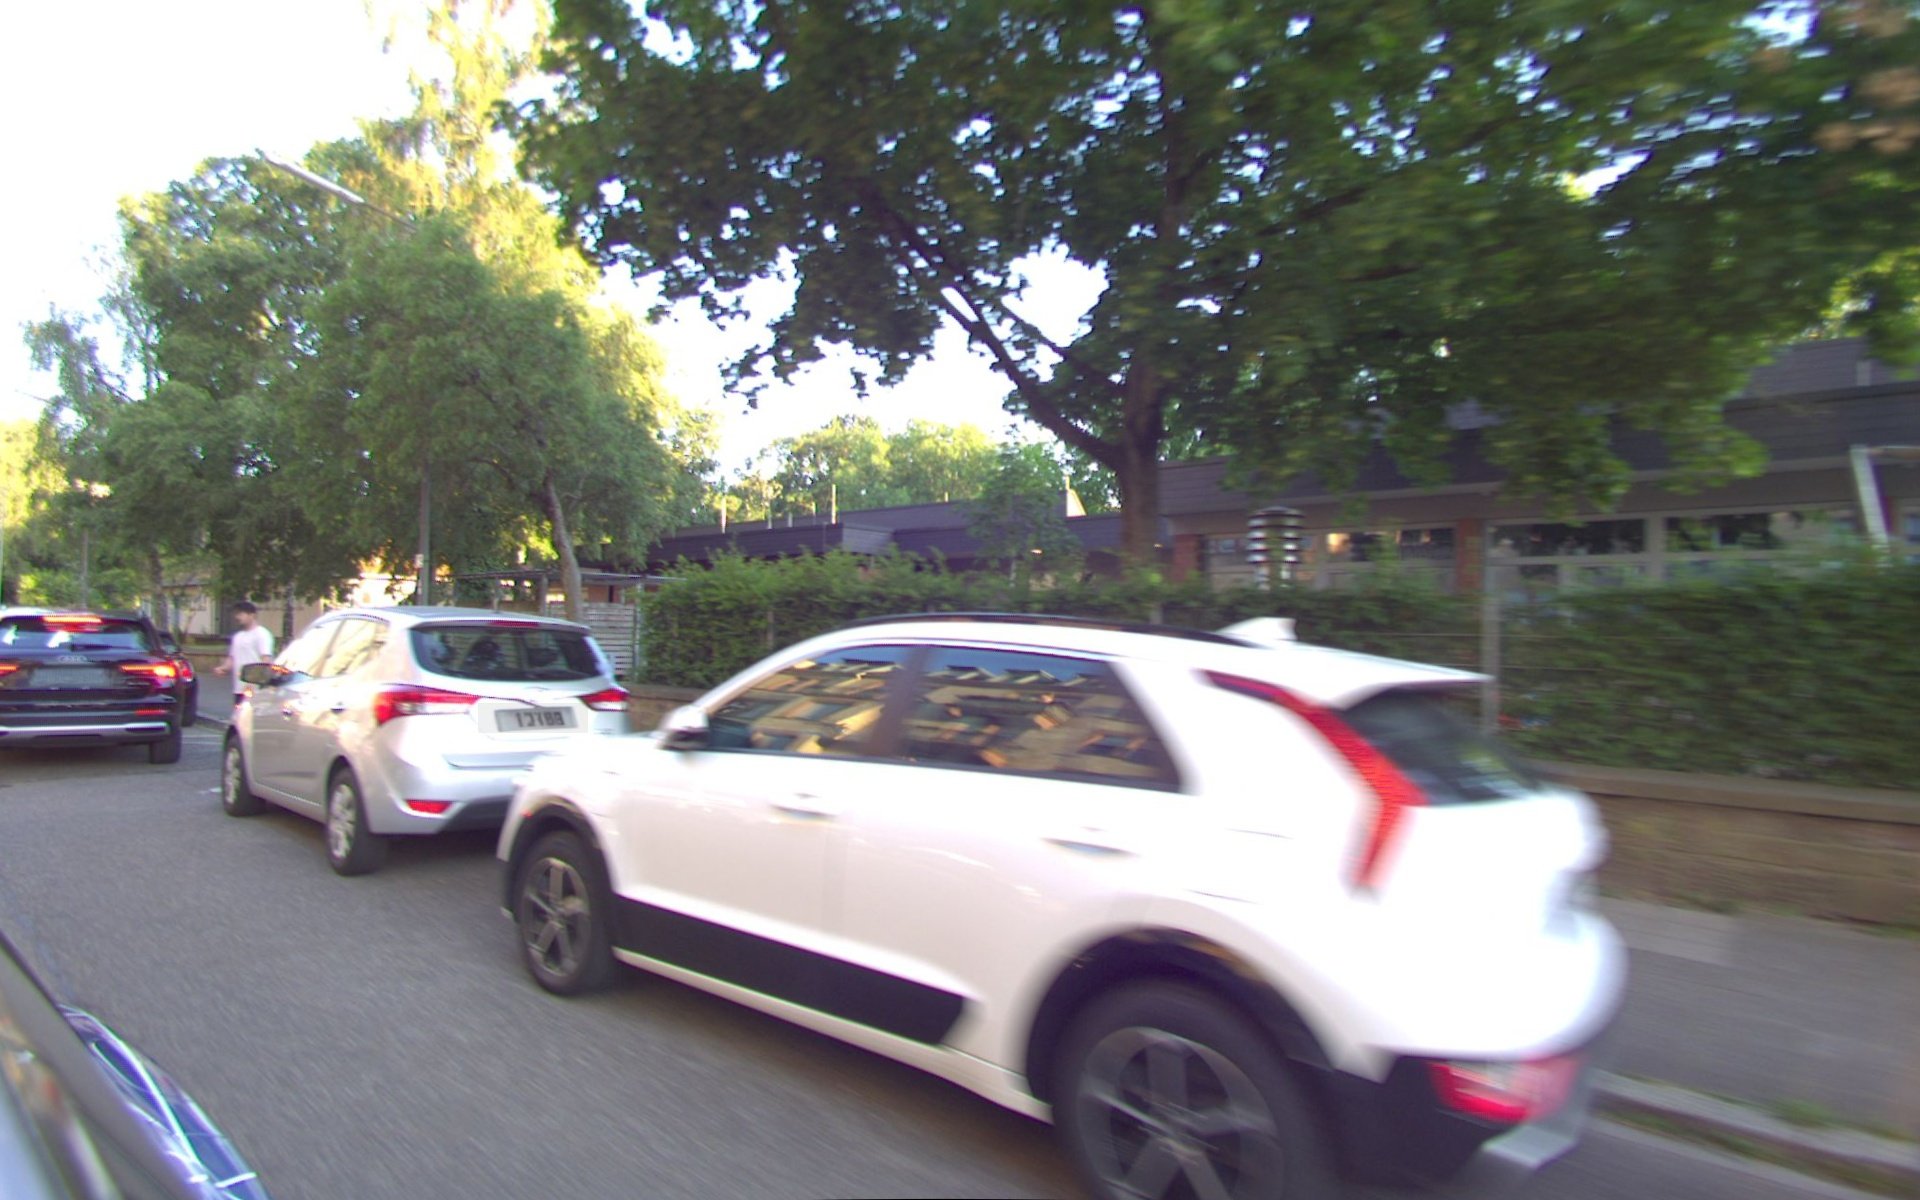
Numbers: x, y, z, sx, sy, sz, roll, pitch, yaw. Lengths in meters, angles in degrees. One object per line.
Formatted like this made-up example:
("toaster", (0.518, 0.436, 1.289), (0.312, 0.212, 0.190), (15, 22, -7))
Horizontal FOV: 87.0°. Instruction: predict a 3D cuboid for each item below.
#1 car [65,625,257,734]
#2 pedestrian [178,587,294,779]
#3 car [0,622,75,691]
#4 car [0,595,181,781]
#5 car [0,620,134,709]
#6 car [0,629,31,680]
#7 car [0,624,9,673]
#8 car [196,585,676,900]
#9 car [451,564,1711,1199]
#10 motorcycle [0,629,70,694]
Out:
("car", (-11.986, 1.120, 15.118), (3.414, 1.436, 1.602), (-1, -4, 41))
("pedestrian", (-6.800, 0.744, 9.517), (0.557, 1.715, 0.739), (-1, 0, 37))
("car", (-21.345, 1.233, 22.642), (3.802, 1.436, 1.716), (-1, -4, 40))
("car", (-9.622, 0.845, 10.787), (1.712, 1.644, 4.130), (4, -4, -42))
("car", (-16.680, 1.134, 18.555), (3.803, 1.457, 1.715), (-1, -4, 41))
("car", (-25.777, 1.378, 26.428), (3.802, 1.297, 1.716), (-1, -4, 40))
("car", (-29.396, 1.372, 29.661), (3.802, 1.377, 1.716), (-1, -4, 40))
("car", (-3.926, 0.818, 7.288), (3.979, 1.644, 1.715), (-1, -4, 42))
("car", (0.056, 0.790, 3.704), (4.275, 1.554, 1.742), (-1, -4, 38))
("motorcycle", (-19.151, 1.235, 20.533), (0.785, 1.268, 1.574), (-1, -2, 44))
